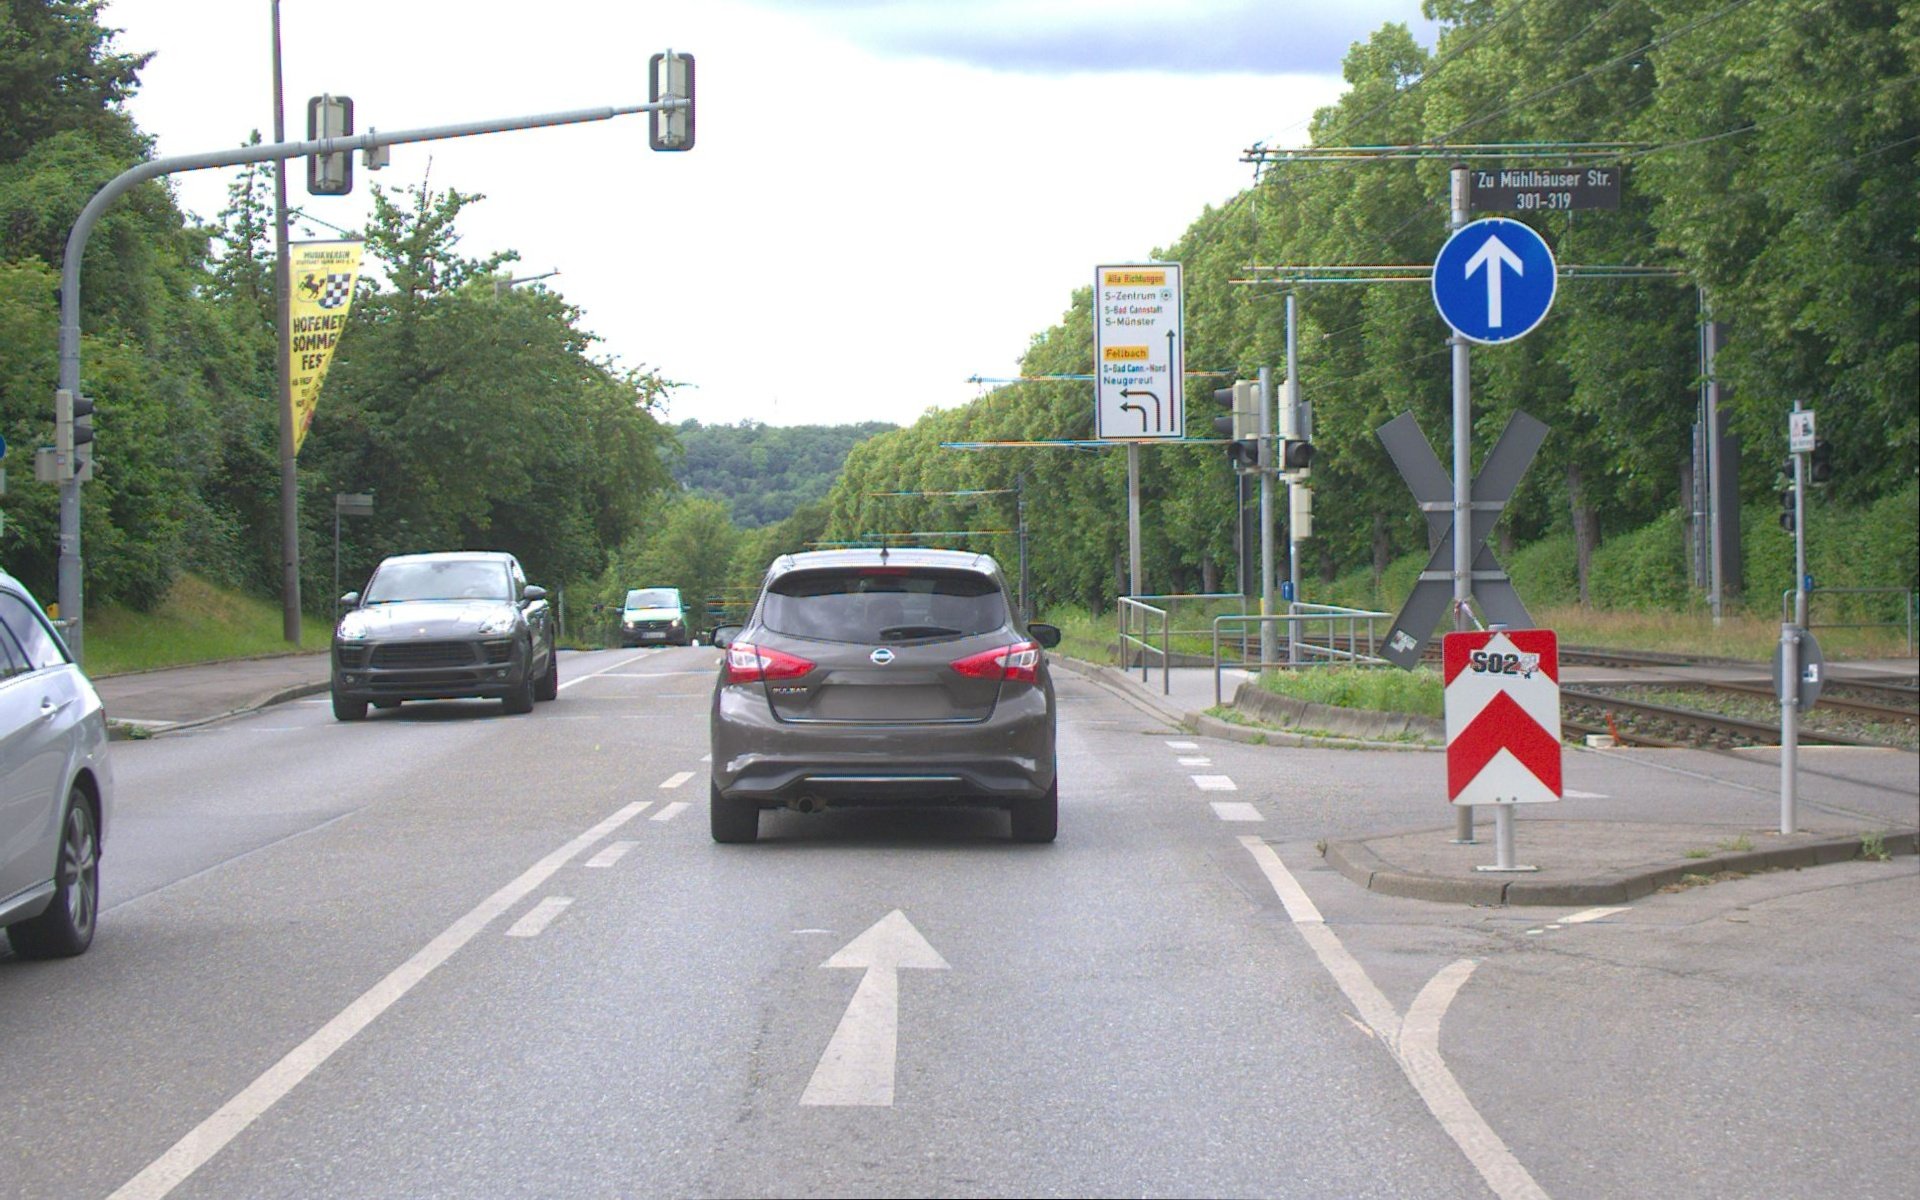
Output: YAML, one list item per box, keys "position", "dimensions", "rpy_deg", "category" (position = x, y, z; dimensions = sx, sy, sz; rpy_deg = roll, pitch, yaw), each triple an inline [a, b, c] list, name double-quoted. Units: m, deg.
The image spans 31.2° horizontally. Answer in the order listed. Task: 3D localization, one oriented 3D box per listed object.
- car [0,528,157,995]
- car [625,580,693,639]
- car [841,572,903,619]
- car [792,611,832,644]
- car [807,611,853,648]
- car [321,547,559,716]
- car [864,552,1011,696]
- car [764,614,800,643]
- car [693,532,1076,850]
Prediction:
- position: [-4.130, 0.536, 11.581]
  dimensions: [1.818, 1.561, 5.206]
  rpy_deg: [1, 1, -2]
  category: "car"
- position: [-8.956, 0.272, 102.415]
  dimensions: [1.785, 1.690, 4.000]
  rpy_deg: [-1, 0, -2]
  category: "car"
- position: [-2.559, -0.138, 100.269]
  dimensions: [1.741, 1.305, 4.000]
  rpy_deg: [0, 1, -1]
  category: "car"
- position: [-6.568, 1.225, 152.710]
  dimensions: [1.741, 1.305, 4.001]
  rpy_deg: [2, 1, -2]
  category: "car"
- position: [-5.145, 1.156, 135.957]
  dimensions: [1.741, 1.305, 4.001]
  rpy_deg: [2, 1, -2]
  category: "car"
- position: [-5.210, 0.300, 34.952]
  dimensions: [1.901, 1.568, 4.483]
  rpy_deg: [1, 0, -3]
  category: "car"
- position: [-0.248, 0.225, 37.915]
  dimensions: [1.538, 1.473, 3.764]
  rpy_deg: [0, 1, 0]
  category: "car"
- position: [-8.951, 1.434, 173.256]
  dimensions: [1.741, 1.305, 4.001]
  rpy_deg: [2, 1, -2]
  category: "car"
- position: [-0.378, 0.431, 18.962]
  dimensions: [1.835, 1.514, 4.483]
  rpy_deg: [1, 0, 0]
  category: "car"
